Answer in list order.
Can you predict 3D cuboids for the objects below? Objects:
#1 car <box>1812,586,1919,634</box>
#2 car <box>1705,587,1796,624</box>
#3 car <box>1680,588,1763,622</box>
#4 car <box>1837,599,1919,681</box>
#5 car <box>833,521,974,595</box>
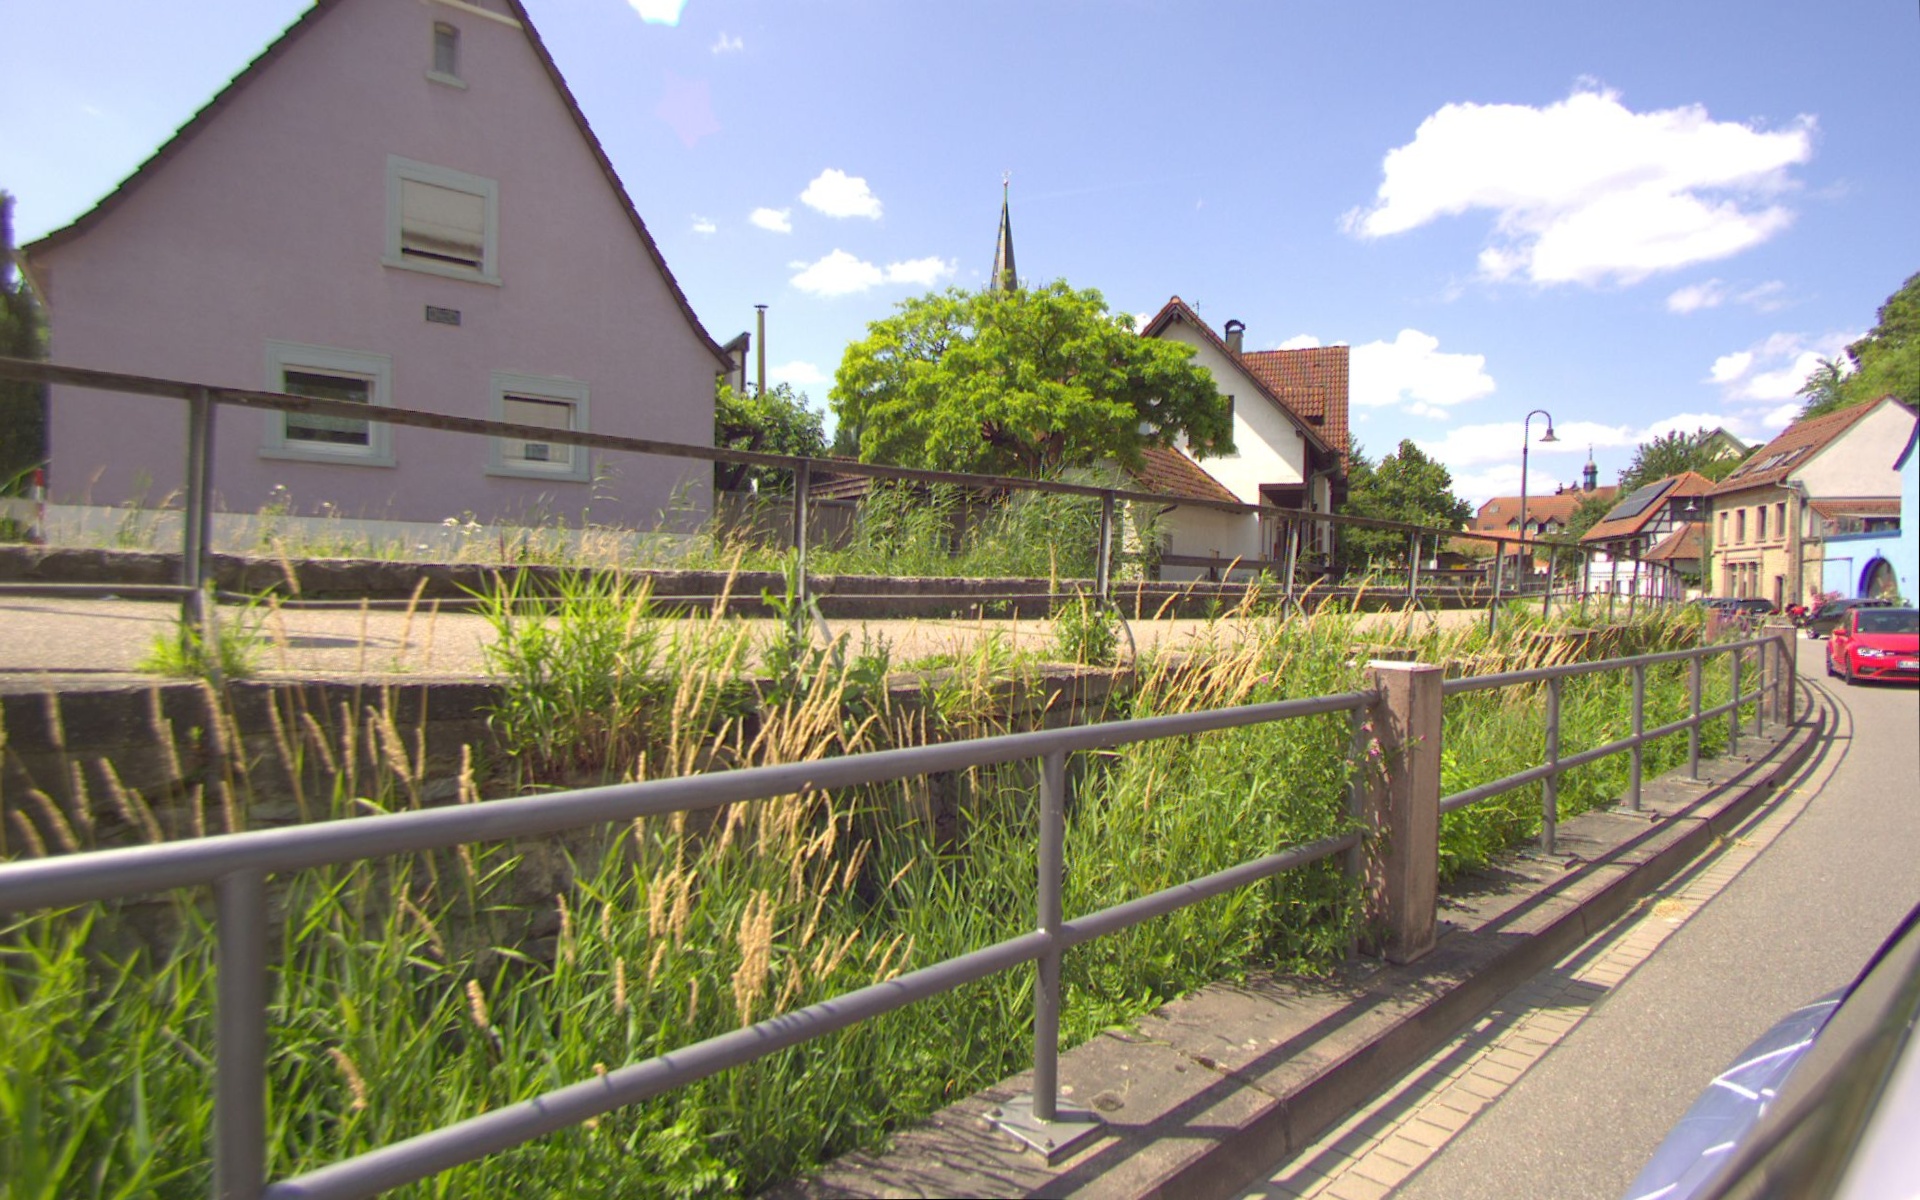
[{"bbox_3d":[31.780,0.327,35.564,1.703,1.549,3.827,-2,0,23],"label":"car"},{"bbox_3d":[35.291,0.226,45.327,1.868,1.483,4.635,-2,-1,21],"label":"car"},{"bbox_3d":[37.303,0.199,49.697,1.938,1.484,4.519,0,2,19],"label":"car"},{"bbox_3d":[17.557,0.689,18.769,1.661,1.369,3.449,0,1,36],"label":"car"},{"bbox_3d":[-1.352,-0.912,23.030,1.723,1.545,3.518,0,1,-32],"label":"car"}]
